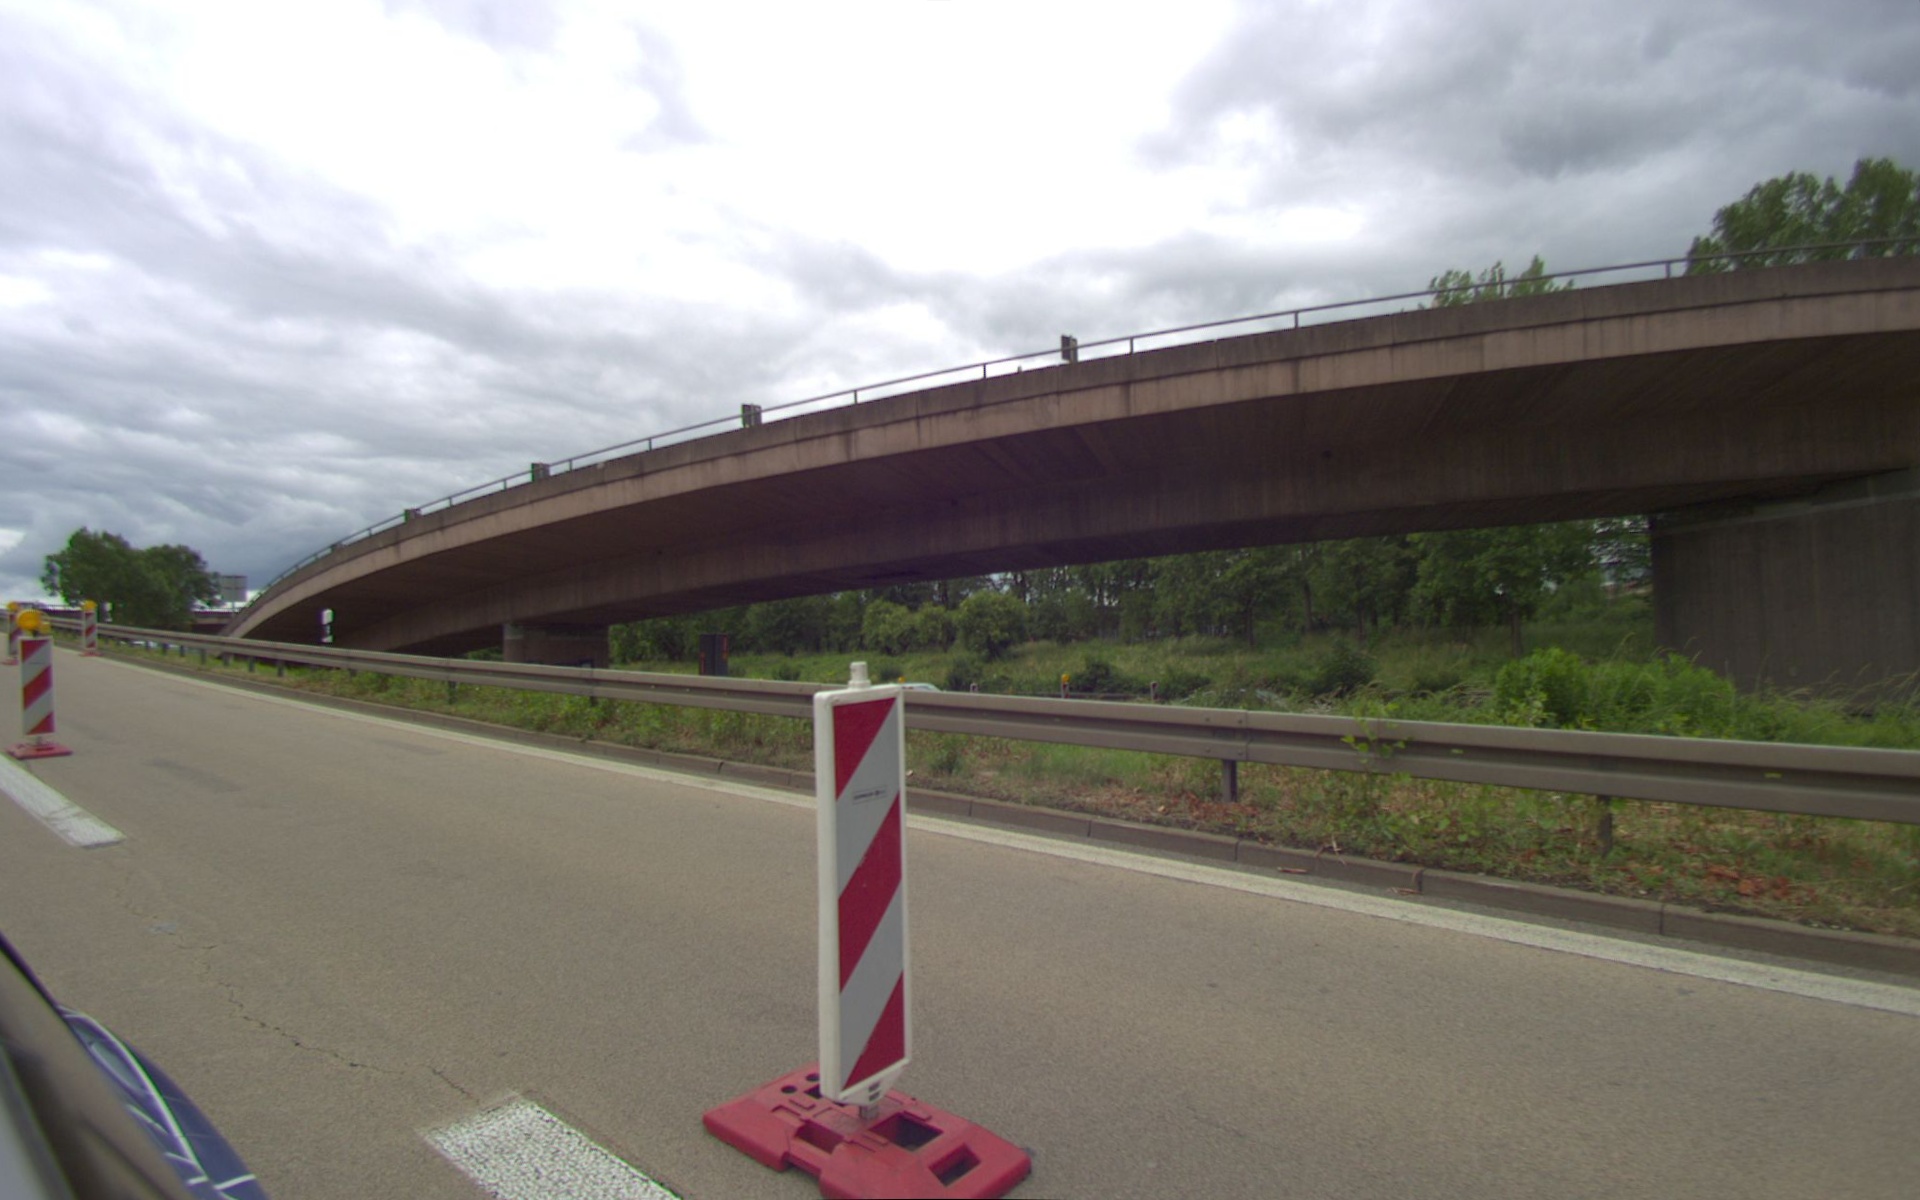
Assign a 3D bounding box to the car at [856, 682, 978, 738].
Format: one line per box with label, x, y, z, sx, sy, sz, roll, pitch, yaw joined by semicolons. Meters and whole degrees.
car;-1.548;3.745;34.961;2.012;1.627;4.301;0;-3;-40
